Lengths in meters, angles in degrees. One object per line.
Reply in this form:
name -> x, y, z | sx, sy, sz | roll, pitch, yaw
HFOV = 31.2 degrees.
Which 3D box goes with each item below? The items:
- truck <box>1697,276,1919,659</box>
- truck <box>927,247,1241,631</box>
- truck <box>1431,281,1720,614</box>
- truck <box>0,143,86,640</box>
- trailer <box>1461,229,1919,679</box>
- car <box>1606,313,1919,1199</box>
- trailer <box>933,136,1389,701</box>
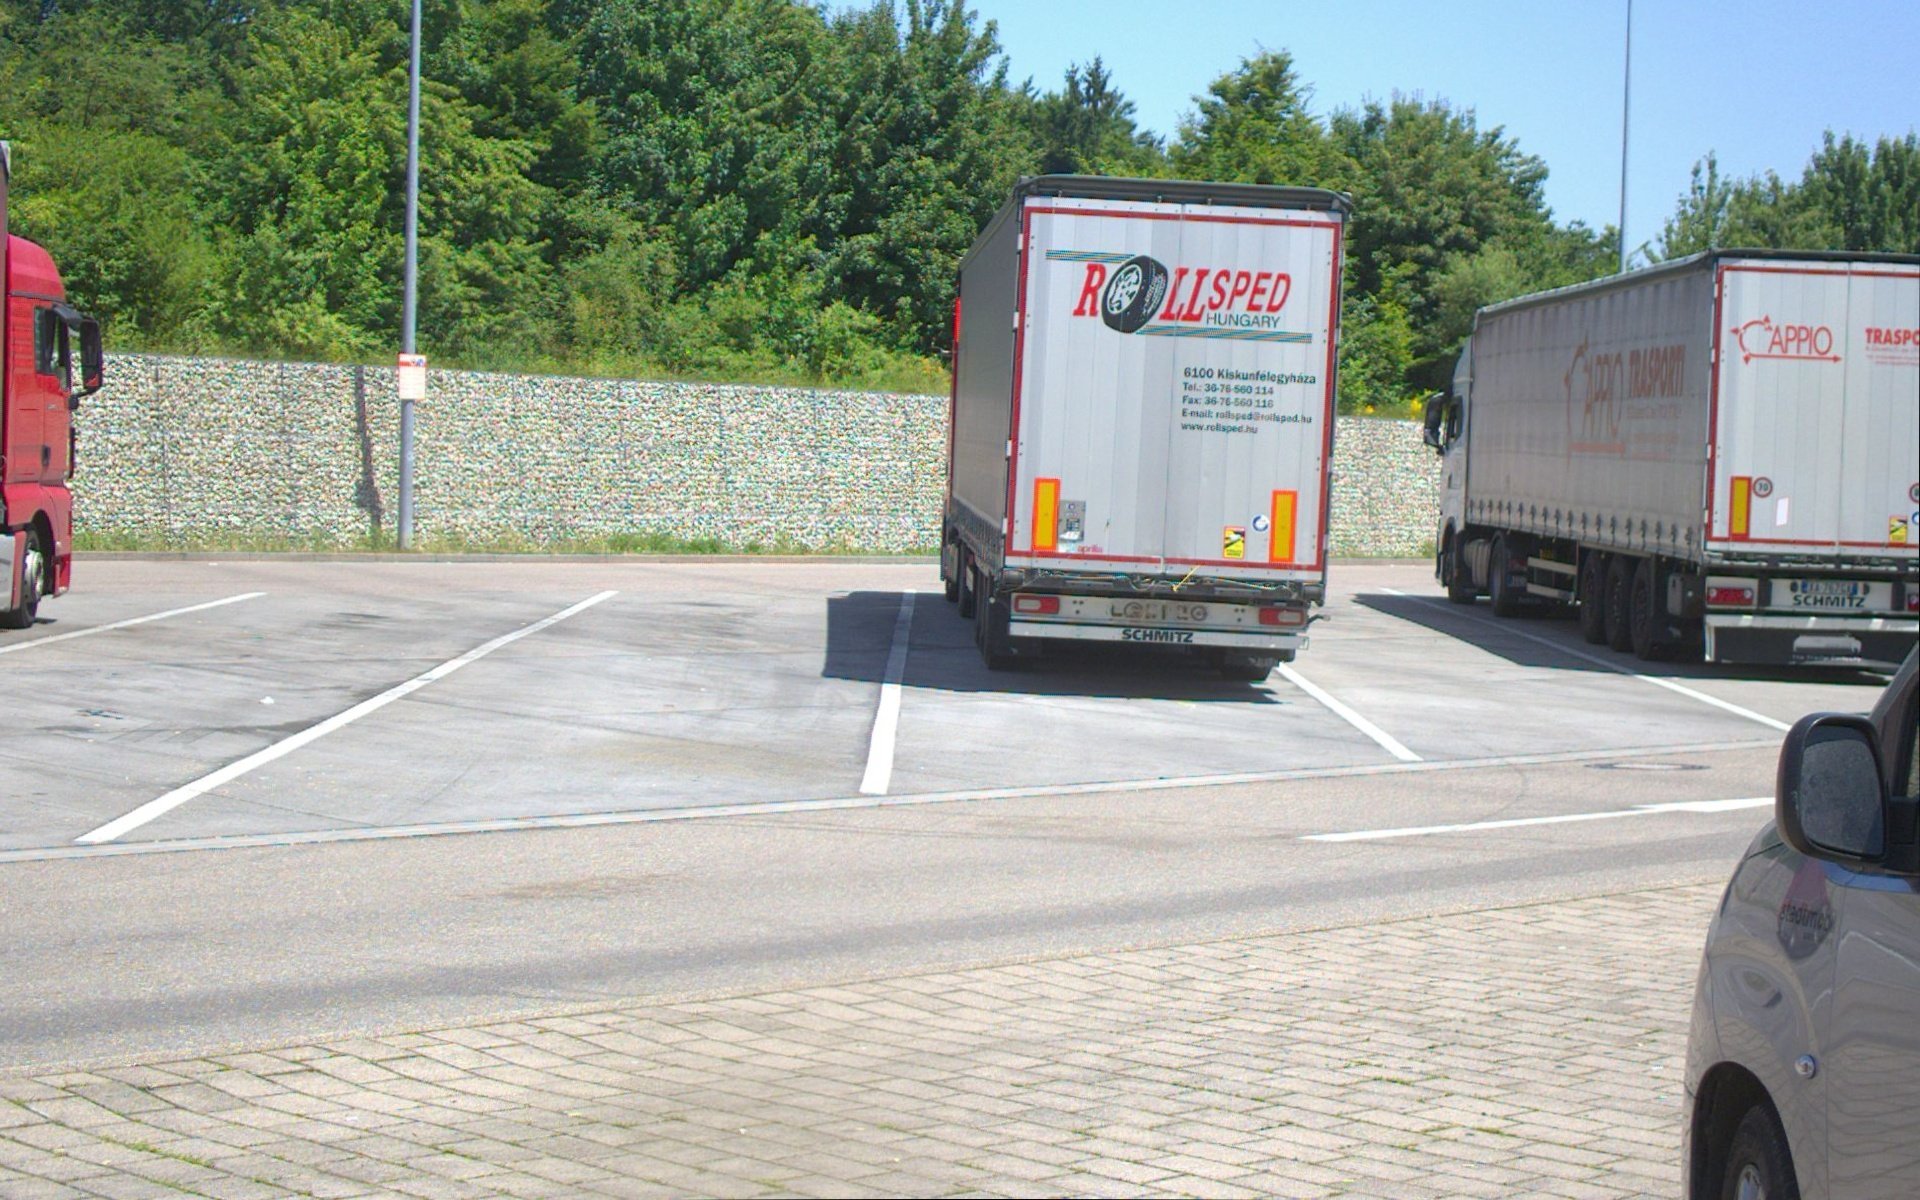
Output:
truck -> 11.730, -1.471, 39.814 | 2.904, 4.110, 14.528 | 3, 2, -1
truck -> 1.264, -1.854, 39.413 | 3.026, 3.915, 6.847 | 2, 3, -2
truck -> 8.027, -1.987, 45.477 | 2.757, 4.110, 5.285 | 1, 2, -1
truck -> -9.230, -1.702, 27.662 | 2.743, 4.067, 6.830 | 1, 2, -1
trailer -> 8.141, -1.571, 38.481 | 2.876, 4.110, 13.572 | 1, 2, -1
car -> 2.138, 0.543, 3.802 | 1.825, 1.747, 4.001 | 1, 2, -4
trailer -> 1.479, -1.695, 32.645 | 3.069, 4.213, 12.810 | 2, 3, -2
